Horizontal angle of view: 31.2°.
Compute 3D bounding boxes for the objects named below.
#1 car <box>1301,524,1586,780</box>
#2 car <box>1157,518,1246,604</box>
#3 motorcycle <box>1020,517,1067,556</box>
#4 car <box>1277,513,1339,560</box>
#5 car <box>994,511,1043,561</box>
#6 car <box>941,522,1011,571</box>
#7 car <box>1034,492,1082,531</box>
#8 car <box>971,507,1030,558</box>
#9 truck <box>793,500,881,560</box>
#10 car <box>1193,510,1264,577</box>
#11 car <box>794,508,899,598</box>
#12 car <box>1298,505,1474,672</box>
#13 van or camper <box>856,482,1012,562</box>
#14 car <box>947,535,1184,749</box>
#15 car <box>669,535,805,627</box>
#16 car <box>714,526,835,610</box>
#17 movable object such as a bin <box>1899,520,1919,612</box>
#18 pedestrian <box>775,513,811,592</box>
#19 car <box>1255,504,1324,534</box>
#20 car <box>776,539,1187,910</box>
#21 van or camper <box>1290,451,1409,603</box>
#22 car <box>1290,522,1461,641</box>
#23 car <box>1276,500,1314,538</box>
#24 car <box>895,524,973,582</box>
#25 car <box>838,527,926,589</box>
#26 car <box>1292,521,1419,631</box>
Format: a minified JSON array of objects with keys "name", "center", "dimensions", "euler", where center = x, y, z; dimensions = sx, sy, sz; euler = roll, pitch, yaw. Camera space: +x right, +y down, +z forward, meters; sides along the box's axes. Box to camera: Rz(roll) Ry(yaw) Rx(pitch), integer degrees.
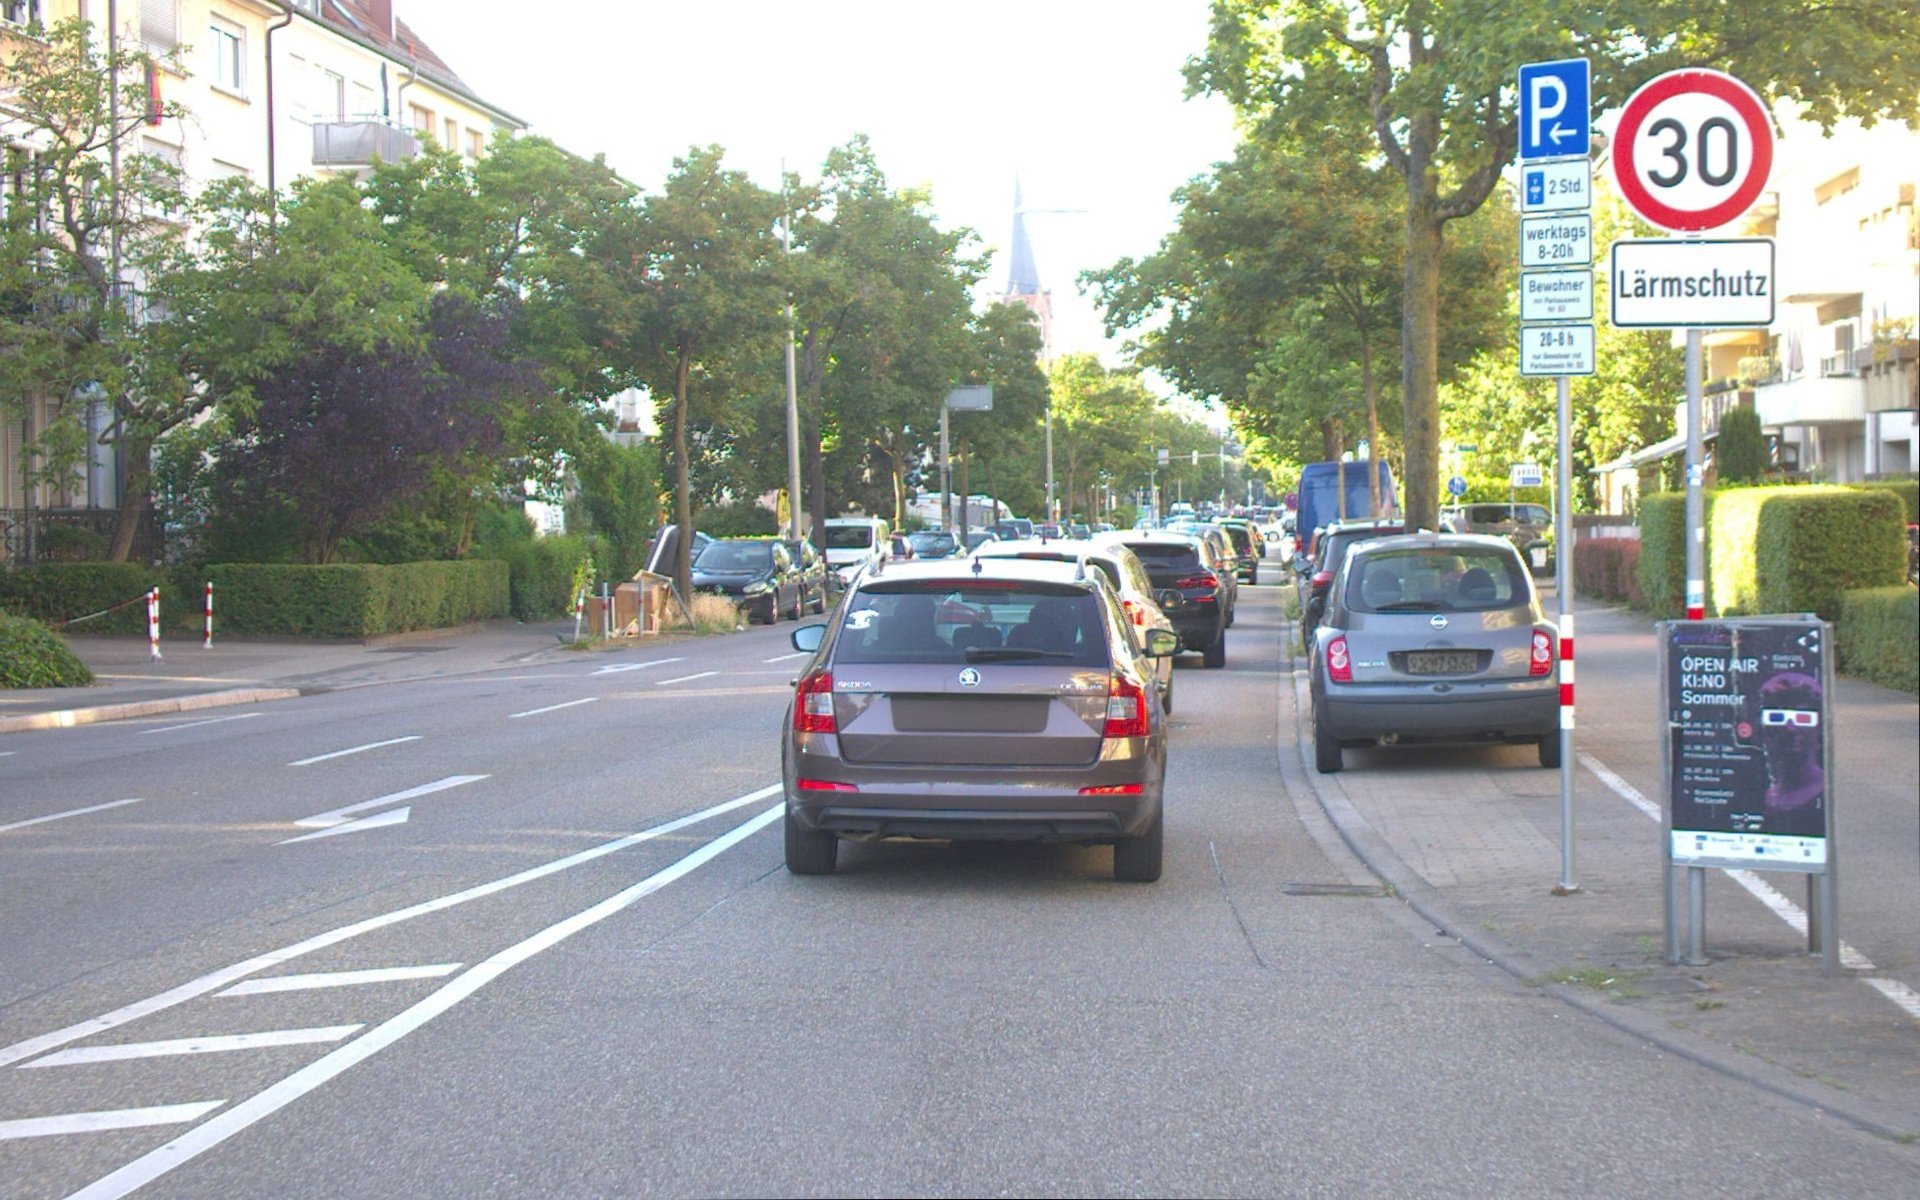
[{"name":"car","center":[3.211,0.289,23.395],"dimensions":[1.733,1.545,3.645],"euler":[-1,2,5]},{"name":"car","center":[4.995,-0.823,70.767],"dimensions":[1.733,1.645,3.541],"euler":[-1,2,5]},{"name":"motorcycle","center":[3.286,-2.494,135.365],"dimensions":[0.764,1.506,2.030],"euler":[-2,2,-37]},{"name":"car","center":[11.098,-2.032,109.502],"dimensions":[1.821,1.408,4.110],"euler":[-1,2,7]},{"name":"car","center":[2.139,-2.351,125.069],"dimensions":[1.507,1.751,3.693],"euler":[-1,2,5]},{"name":"car","center":[0.523,-1.682,107.304],"dimensions":[1.754,1.415,4.425],"euler":[-1,2,6]},{"name":"car","center":[4.050,-3.659,141.725],"dimensions":[1.750,1.540,3.590],"euler":[-1,2,5]},{"name":"car","center":[1.434,-2.380,120.448],"dimensions":[1.750,1.734,3.590],"euler":[-1,2,5]},{"name":"truck","center":[-4.382,-2.496,122.489],"dimensions":[2.914,2.086,1.546],"euler":[-1,2,5]},{"name":"car","center":[6.906,-1.468,88.131],"dimensions":[1.733,1.645,3.541],"euler":[-1,2,5]},{"name":"car","center":[-2.521,-1.081,77.053],"dimensions":[1.770,1.912,4.459],"euler":[-1,2,5]},{"name":"car","center":[4.550,-0.177,37.154],"dimensions":[1.733,1.645,4.291],"euler":[-1,2,5]},{"name":"van or camper","center":[-1.282,-3.907,172.150],"dimensions":[7.641,3.861,2.000],"euler":[-1,2,4]},{"name":"car","center":[0.833,0.275,27.302],"dimensions":[1.729,1.488,3.951],"euler":[-1,2,2]},{"name":"car","center":[-3.936,-0.363,61.211],"dimensions":[1.750,1.497,4.196],"euler":[-1,2,5]},{"name":"car","center":[-3.550,-0.643,66.339],"dimensions":[1.750,1.497,3.978],"euler":[-1,2,5]},{"name":"movable object such as a bin","center":[10.809,-0.383,38.216],"dimensions":[0.582,0.999,0.796],"euler":[-1,2,5]},{"name":"pedestrian","center":[-4.290,-1.235,88.368],"dimensions":[0.767,2.006,0.976],"euler":[-1,2,5]},{"name":"car","center":[20.434,-5.034,213.057],"dimensions":[4.166,1.751,1.882],"euler":[-2,2,-39]},{"name":"car","center":[-0.011,0.495,16.602],"dimensions":[1.729,1.488,3.951],"euler":[-1,2,-3]},{"name":"van or camper","center":[7.200,-1.347,64.018],"dimensions":[2.068,2.666,5.989],"euler":[-1,1,5]},{"name":"car","center":[5.678,-0.296,47.459],"dimensions":[1.920,1.481,4.746],"euler":[-1,2,2]},{"name":"car","center":[16.445,-3.972,168.919],"dimensions":[1.730,1.809,3.950],"euler":[-1,2,4]},{"name":"car","center":[-0.697,-1.318,95.584],"dimensions":[1.717,1.492,4.247],"euler":[-1,2,5]},{"name":"car","center":[-1.883,-1.050,84.243],"dimensions":[1.717,1.416,3.786],"euler":[-1,2,5]},{"name":"car","center":[6.151,-0.396,53.800],"dimensions":[1.773,1.636,3.757],"euler":[-1,1,4]}]
